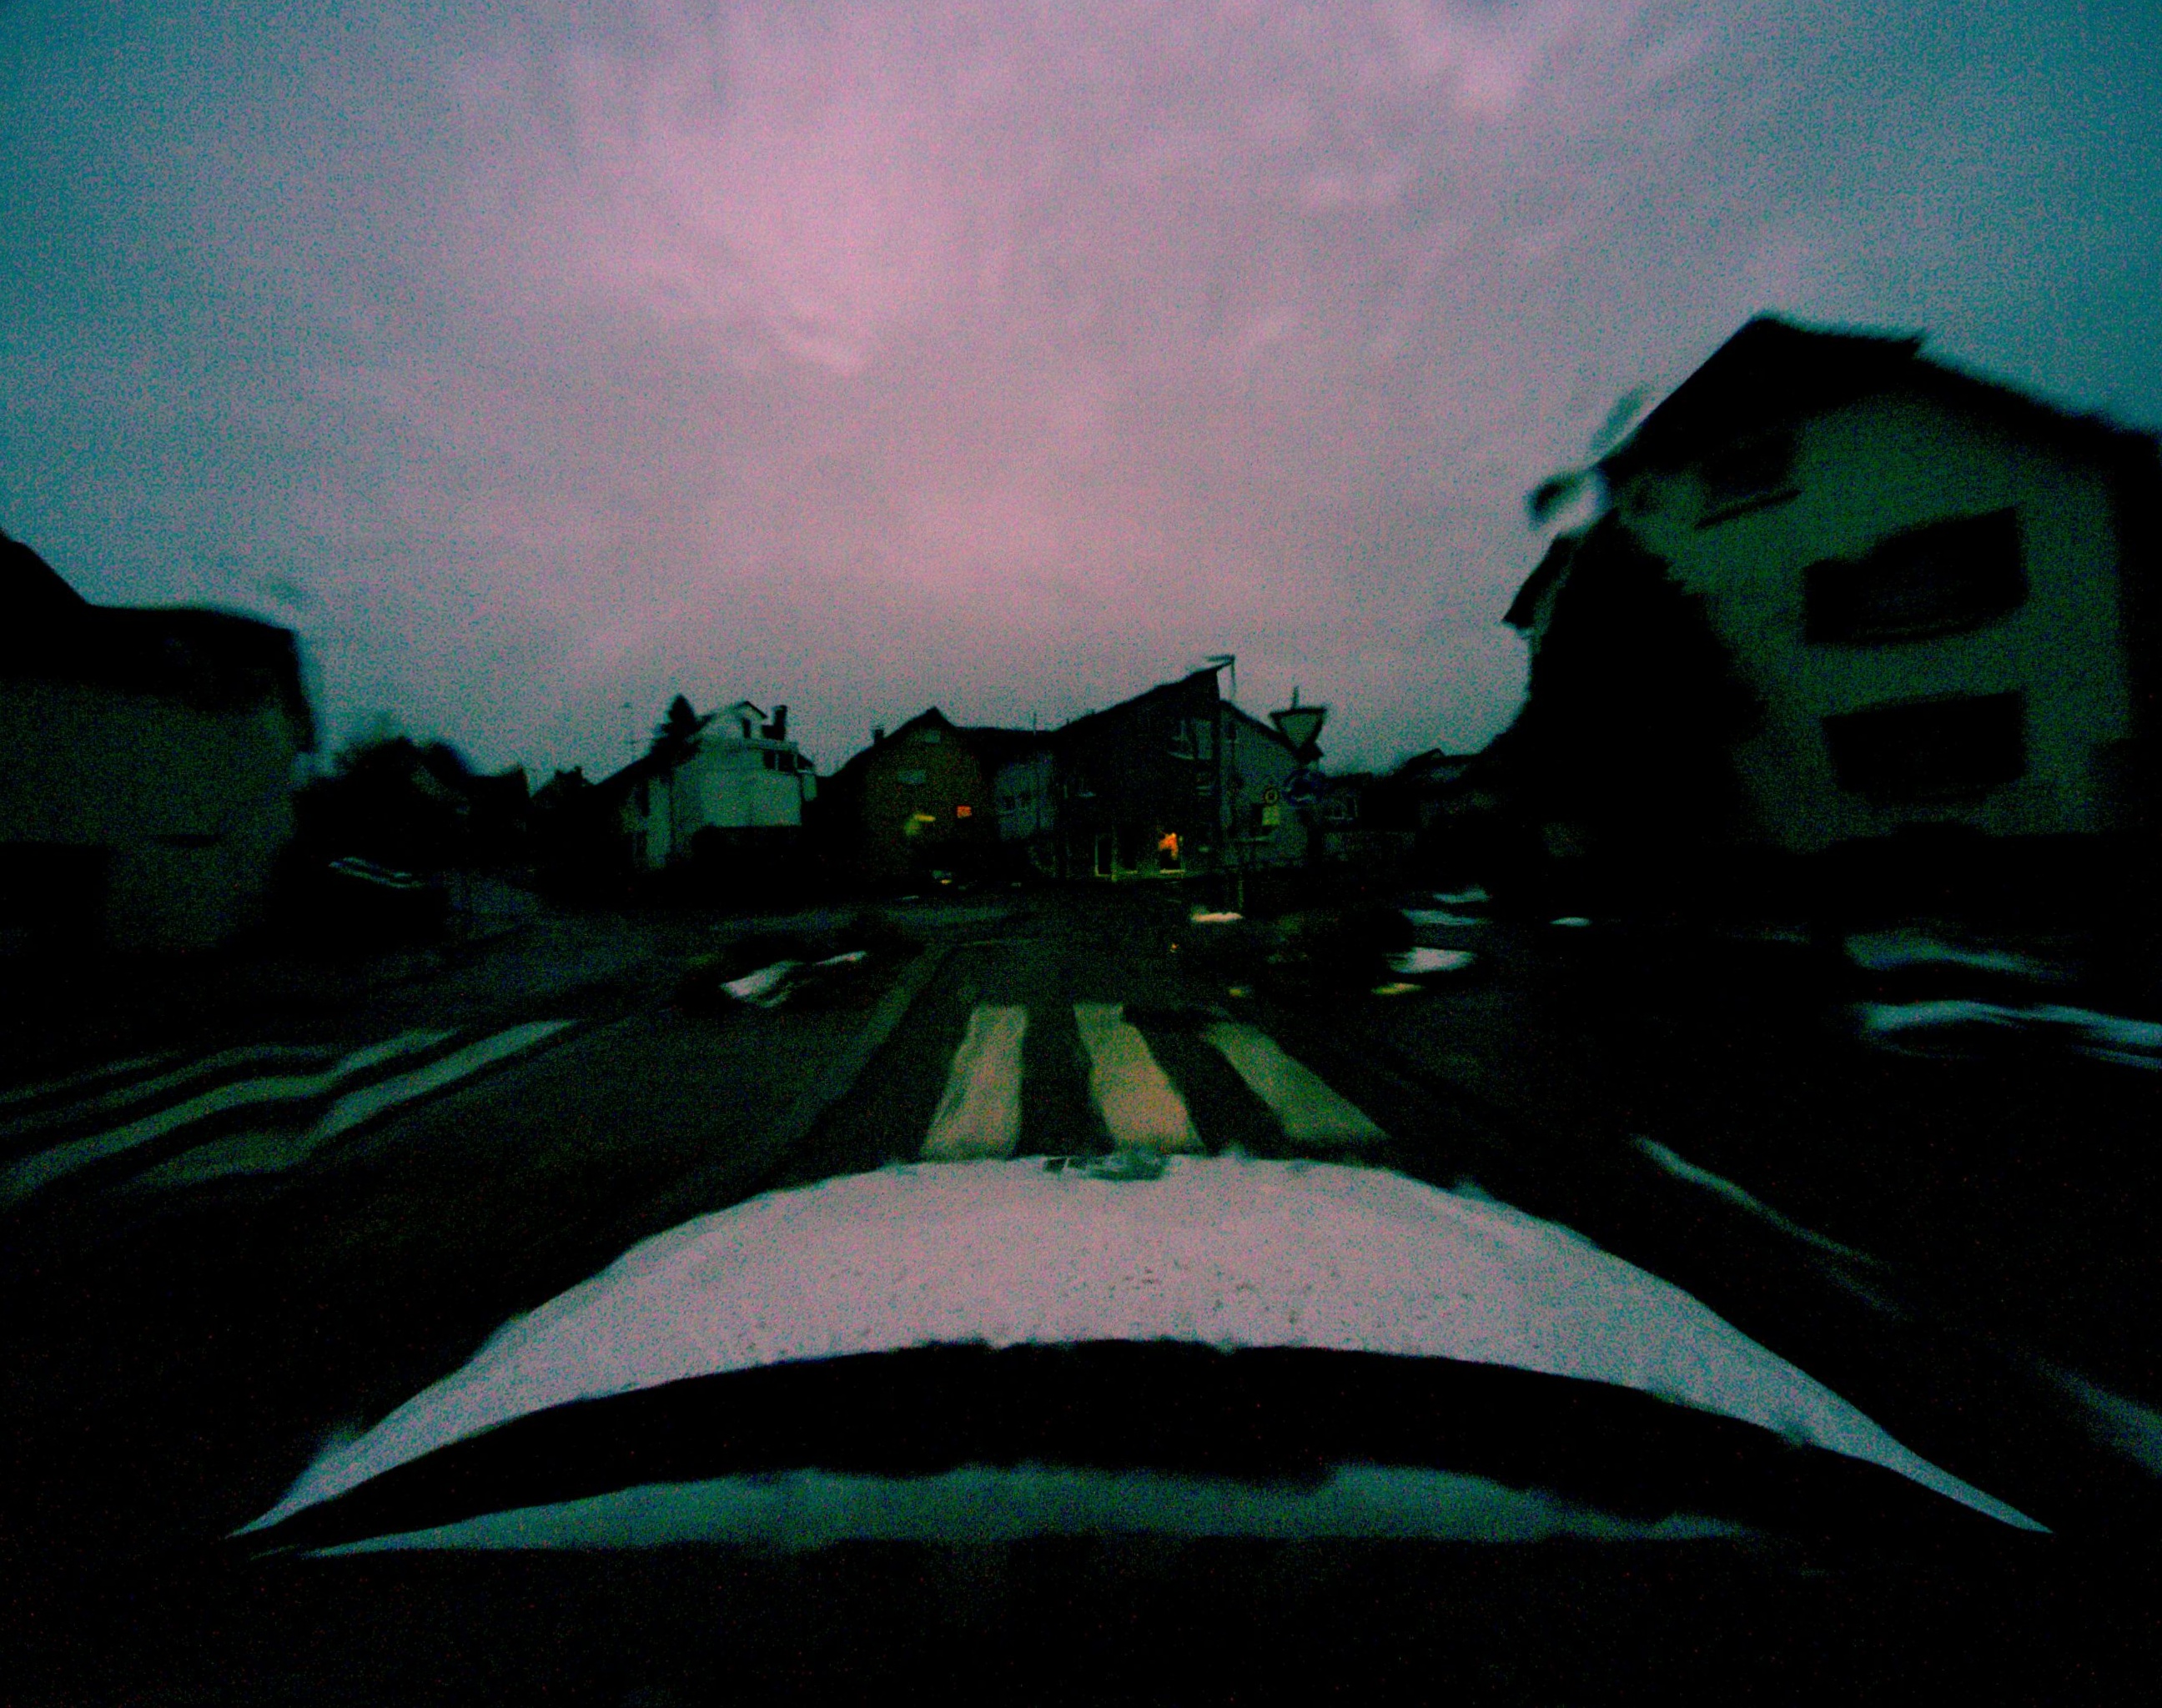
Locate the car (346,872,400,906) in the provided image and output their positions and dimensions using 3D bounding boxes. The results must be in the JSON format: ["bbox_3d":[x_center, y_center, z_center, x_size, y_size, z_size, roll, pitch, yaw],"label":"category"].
[{"bbox_3d":[-35.659,1.731,41.097,1.944,1.517,3.952,-2,0,-41],"label":"car"}]

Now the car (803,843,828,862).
[{"bbox_3d":[-24.303,-0.132,74.561,2.001,1.644,3.973,-2,0,-20],"label":"car"}]

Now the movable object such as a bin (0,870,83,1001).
[{"bbox_3d":[-13.534,1.004,9.944,1.097,1.543,1.283,-2,0,-12],"label":"movable object such as a bin"}]

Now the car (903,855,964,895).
[{"bbox_3d":[-6.744,0.894,36.931,2.001,1.644,3.973,-2,0,-20],"label":"car"}]

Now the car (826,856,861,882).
[{"bbox_3d":[-15.986,0.963,54.720,2.001,1.644,3.973,-2,0,-20],"label":"car"}]
